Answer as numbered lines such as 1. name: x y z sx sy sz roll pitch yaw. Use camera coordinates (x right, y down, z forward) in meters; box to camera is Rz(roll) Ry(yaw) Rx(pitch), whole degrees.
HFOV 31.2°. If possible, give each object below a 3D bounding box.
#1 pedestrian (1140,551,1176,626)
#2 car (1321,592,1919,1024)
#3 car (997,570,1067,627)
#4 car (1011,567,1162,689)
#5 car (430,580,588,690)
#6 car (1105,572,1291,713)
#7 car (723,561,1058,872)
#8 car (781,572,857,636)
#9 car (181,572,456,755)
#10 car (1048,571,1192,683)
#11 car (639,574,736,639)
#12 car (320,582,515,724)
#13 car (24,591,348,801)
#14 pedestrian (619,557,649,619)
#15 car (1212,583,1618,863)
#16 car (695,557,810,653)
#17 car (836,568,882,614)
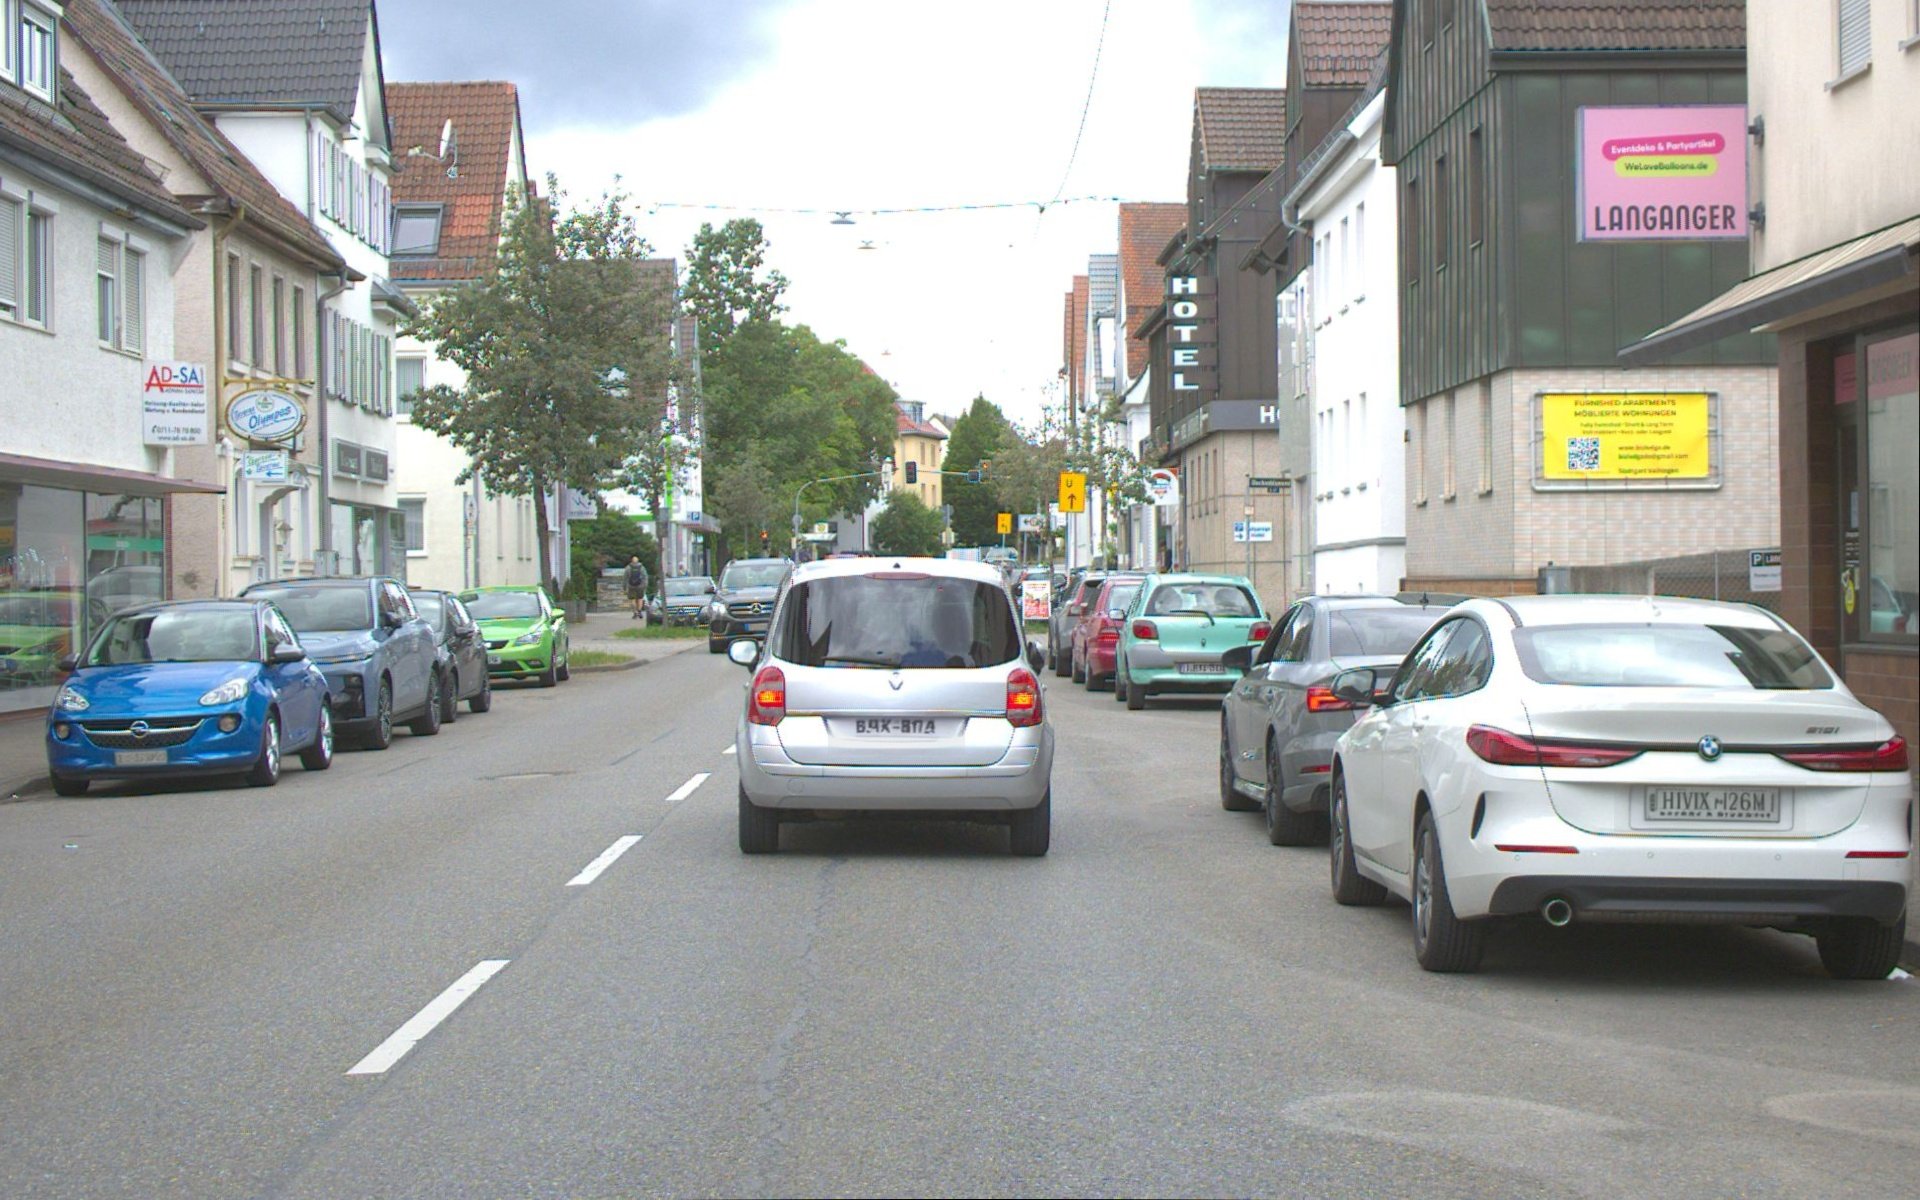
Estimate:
1. pedestrian: 5.132 -0.298 89.251 0.857 1.921 0.899 1 0 0
2. car: 2.617 0.711 13.990 1.831 1.441 4.331 1 0 0
3. car: 1.898 -0.056 91.967 1.700 1.462 4.239 1 0 -1
4. car: 1.561 0.322 43.678 1.755 1.441 4.455 1 0 0
5. car: -6.360 0.467 48.845 1.682 1.442 4.020 -2 0 0
6. car: 2.645 0.440 39.043 1.831 1.492 3.993 1 0 0
7. car: -0.348 0.580 19.512 1.682 1.560 3.993 1 0 0
8. car: -3.702 0.090 90.597 1.794 1.573 4.192 -2 1 0
9. car: -6.132 0.561 33.325 1.803 1.593 4.304 -2 0 0
10. car: 2.277 0.365 49.959 1.876 1.534 4.513 1 0 0
11. car: -6.650 0.132 84.183 1.948 1.462 4.516 -3 0 0
12. car: -6.076 0.560 38.854 1.581 1.503 3.812 1 0 0
13. car: -6.108 0.708 27.512 1.682 1.494 3.775 -2 0 0
14. pedestrian: -9.392 -0.353 98.996 0.762 1.785 0.890 1 0 -1
15. car: 2.549 0.638 20.185 1.831 1.441 4.110 1 0 0
16. car: -3.977 0.084 66.587 1.900 1.731 4.366 -2 0 0
17. car: -4.539 -0.420 154.540 1.952 2.007 4.000 1 0 -1
